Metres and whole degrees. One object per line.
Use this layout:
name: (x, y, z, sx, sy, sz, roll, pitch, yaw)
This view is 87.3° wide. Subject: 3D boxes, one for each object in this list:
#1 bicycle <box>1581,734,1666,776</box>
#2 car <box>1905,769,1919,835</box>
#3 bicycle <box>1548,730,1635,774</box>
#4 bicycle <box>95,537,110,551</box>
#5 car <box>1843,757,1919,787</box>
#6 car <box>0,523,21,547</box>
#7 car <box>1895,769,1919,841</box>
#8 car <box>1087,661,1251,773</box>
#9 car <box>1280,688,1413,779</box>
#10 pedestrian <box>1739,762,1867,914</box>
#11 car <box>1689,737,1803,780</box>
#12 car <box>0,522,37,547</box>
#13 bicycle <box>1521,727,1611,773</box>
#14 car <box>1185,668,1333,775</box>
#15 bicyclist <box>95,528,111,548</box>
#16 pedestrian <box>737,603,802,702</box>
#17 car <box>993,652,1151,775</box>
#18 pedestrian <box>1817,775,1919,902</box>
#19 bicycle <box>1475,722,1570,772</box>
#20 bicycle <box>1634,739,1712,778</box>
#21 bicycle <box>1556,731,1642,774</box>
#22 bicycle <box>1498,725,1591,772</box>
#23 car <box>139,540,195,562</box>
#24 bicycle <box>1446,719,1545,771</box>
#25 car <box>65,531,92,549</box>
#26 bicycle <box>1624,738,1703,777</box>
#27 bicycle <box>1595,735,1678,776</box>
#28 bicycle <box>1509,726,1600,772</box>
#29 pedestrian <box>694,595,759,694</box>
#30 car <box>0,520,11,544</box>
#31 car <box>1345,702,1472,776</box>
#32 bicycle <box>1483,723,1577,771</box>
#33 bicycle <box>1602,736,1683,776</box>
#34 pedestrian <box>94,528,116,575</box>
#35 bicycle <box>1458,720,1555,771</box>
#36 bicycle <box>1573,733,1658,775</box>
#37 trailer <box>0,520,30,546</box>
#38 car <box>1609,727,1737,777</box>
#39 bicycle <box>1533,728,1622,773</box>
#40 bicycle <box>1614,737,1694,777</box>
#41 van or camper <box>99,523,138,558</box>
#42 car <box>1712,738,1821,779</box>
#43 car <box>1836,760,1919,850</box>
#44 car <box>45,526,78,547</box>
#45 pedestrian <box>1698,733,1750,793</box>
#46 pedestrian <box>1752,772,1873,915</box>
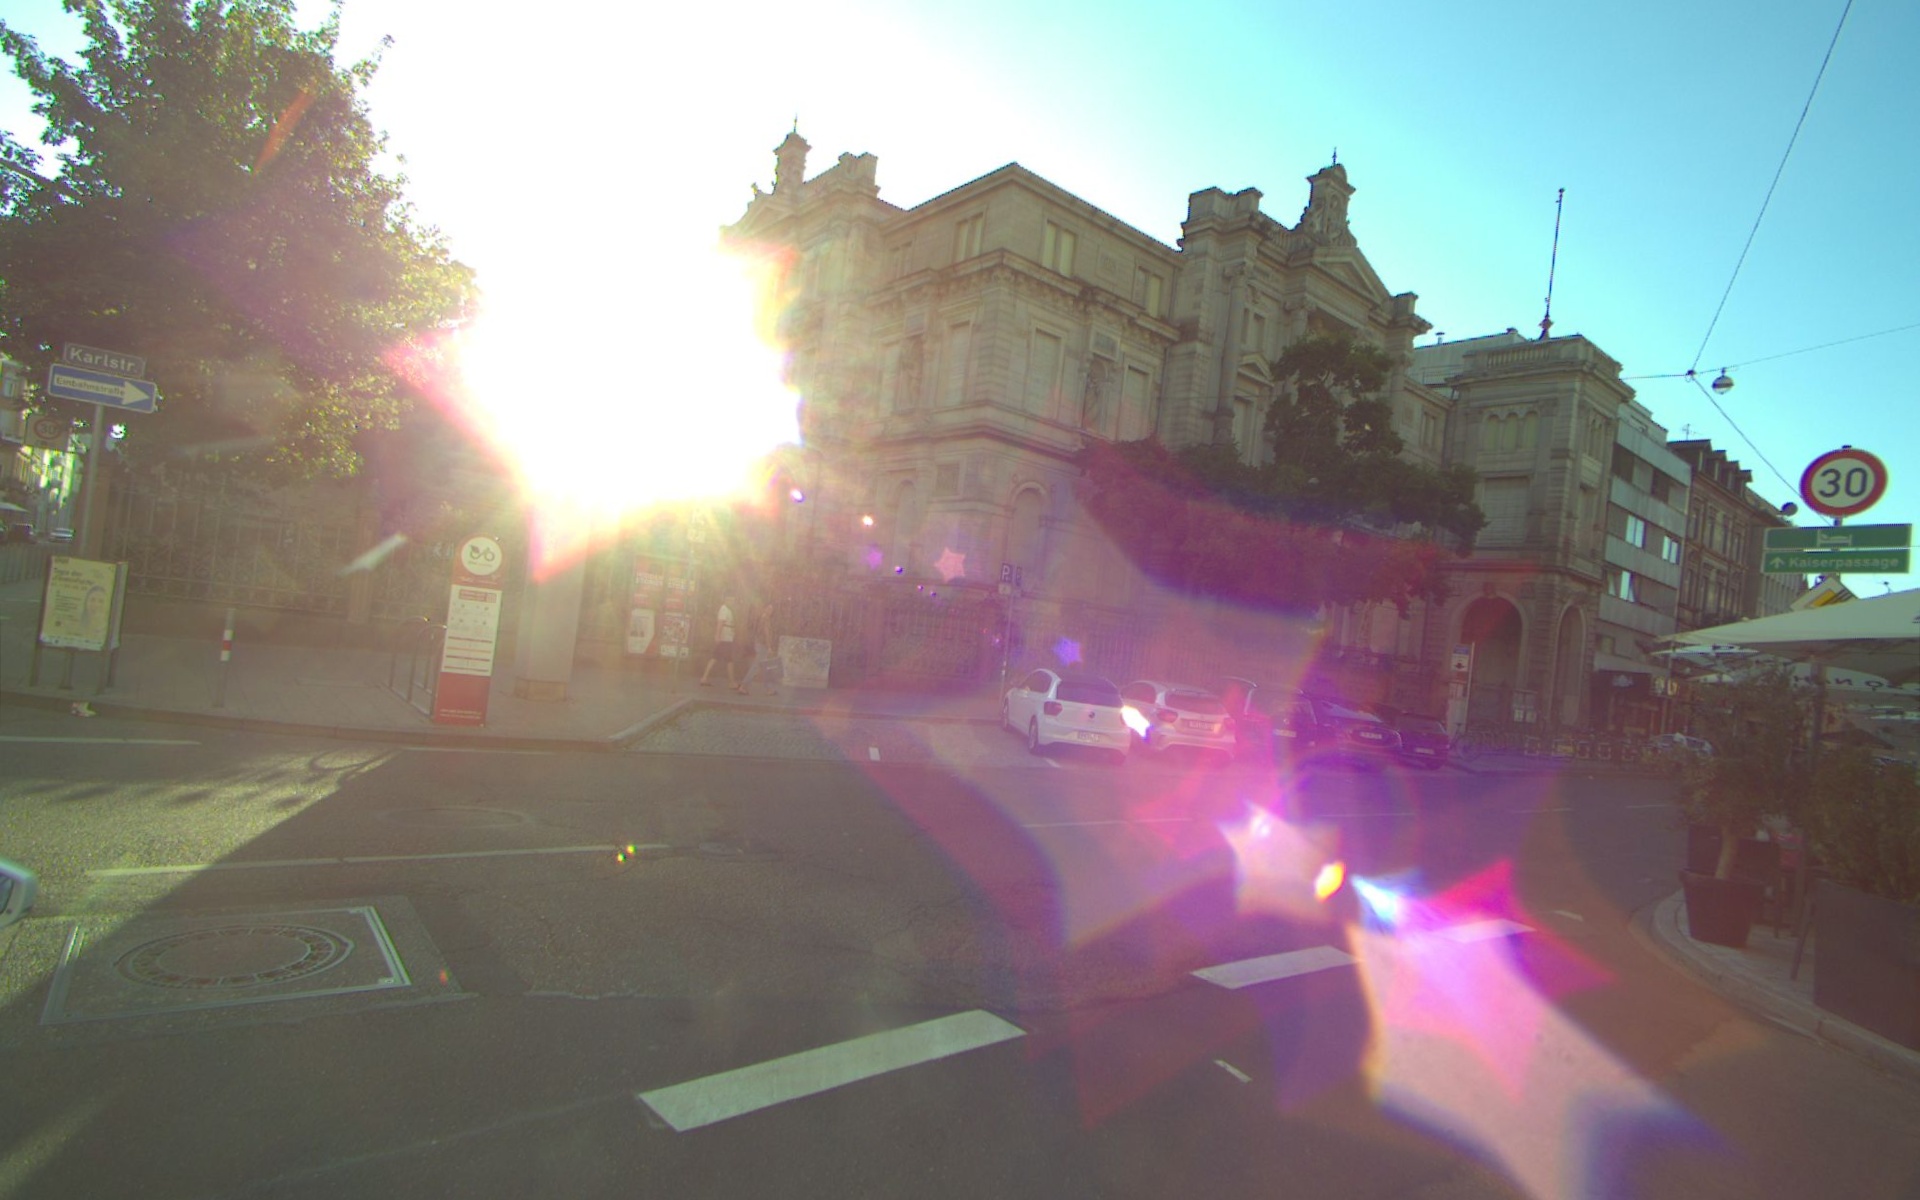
bicycle: (23.124, 5.380, 35.097, 0.712, 1.103, 2.276, 8, -3, -42)
car: (23.340, 4.702, 21.588, 3.993, 1.429, 1.757, 6, -2, 19)
bicycle: (20.879, 5.019, 33.299, 0.712, 1.103, 2.276, 8, -3, -42)
bicycle: (-89.896, -5.909, 105.434, 0.971, 1.295, 2.727, 8, -3, -38)
car: (64.091, 11.938, 69.804, 1.741, 1.429, 3.961, 8, -3, -37)
car: (-64.108, -4.428, 67.064, 1.876, 1.470, 3.957, 8, -2, -40)
car: (21.809, 4.471, 20.177, 4.030, 1.429, 1.757, 6, -2, 19)
car: (4.083, 2.262, 20.352, 1.726, 1.545, 3.991, 7, 0, -10)
car: (8.862, 3.015, 23.391, 1.722, 1.626, 4.006, 6, -3, 6)
pedestrian: (8.127, 2.271, 9.727, 0.589, 1.260, 0.687, 7, -1, 11)
car: (37.750, 7.601, 48.415, 1.741, 1.429, 3.961, 8, -3, -37)
car: (-69.043, -4.785, 73.566, 1.876, 1.470, 3.957, 8, -2, -40)
bicycle: (19.287, 4.765, 32.055, 0.712, 1.103, 2.276, 8, -3, -42)
car: (6.436, 2.571, 22.112, 1.723, 1.741, 3.999, 7, -1, -3)
bicyclist: (-89.795, -6.489, 105.397, 0.985, 1.890, 0.701, 8, -2, -37)
pedestrian: (-3.443, 0.954, 18.211, 0.632, 1.690, 0.703, 8, 0, 38)
car: (1.936, 1.992, 18.644, 1.726, 1.466, 3.899, 7, 2, -10)
pedestrian: (10.539, 2.738, 11.635, 0.589, 1.260, 0.687, 7, -1, 11)
bicycle: (16.515, 4.306, 29.595, 0.712, 1.103, 2.276, 8, -3, -42)
bicycle: (27.174, 6.033, 38.360, 0.712, 1.103, 2.276, 8, -3, -42)
bicycle: (21.498, 5.123, 33.875, 0.712, 1.103, 2.276, 8, -3, -42)
bicycle: (17.898, 4.536, 30.838, 0.712, 1.103, 2.276, 8, -3, -42)
car: (-74.320, -4.570, 94.302, 3.970, 1.436, 1.640, 9, -3, -38)
bicycle: (15.053, 4.066, 28.323, 0.712, 1.103, 2.276, 8, -3, -42)
car: (-103.771, -7.062, 118.426, 1.985, 1.703, 3.960, 8, -3, -38)
bicycle: (26.378, 5.905, 37.739, 0.712, 1.103, 2.276, 8, -3, -42)
bicycle: (24.102, 5.538, 35.889, 0.712, 1.103, 2.276, 8, -3, -42)
bicycle: (18.572, 4.650, 31.488, 0.712, 1.103, 2.276, 8, -3, -42)
pedestrian: (-4.263, 0.812, 18.385, 0.632, 1.690, 0.703, 8, 0, 38)
car: (-61.101, -4.394, 63.083, 1.876, 1.470, 3.957, 8, -2, -40)
car: (11.596, 3.553, 26.325, 1.722, 1.428, 4.006, 6, -3, 6)
bicycle: (17.103, 4.410, 30.248, 0.712, 1.103, 2.276, 8, -3, -42)
bicycle: (24.728, 5.643, 36.478, 0.712, 1.103, 2.276, 8, -3, -42)
pedestrian: (-32.121, -1.816, 37.776, 0.611, 1.679, 0.483, 6, 0, 45)
bicycle: (15.657, 4.167, 28.885, 0.712, 1.103, 2.276, 8, -3, -42)
bicycle: (22.460, 5.271, 34.521, 0.712, 1.103, 2.276, 8, -3, -42)
trailer: (-66.543, -4.718, 70.255, 1.986, 1.574, 3.958, 9, -3, -39)
car: (29.560, 6.305, 41.808, 1.741, 1.429, 3.961, 8, -3, -37)
bicycle: (20.004, 4.880, 32.626, 0.712, 1.103, 2.276, 8, -3, -42)
bicycle: (25.631, 5.789, 37.206, 0.712, 1.103, 2.276, 8, -3, -42)
van or camper: (-70.062, -4.883, 83.846, 2.244, 2.641, 5.061, 3, 0, -38)
car: (40.804, 7.997, 50.948, 1.741, 1.429, 3.961, 8, -3, -37)
car: (18.992, 3.990, 18.415, 3.993, 1.429, 1.757, 6, -2, 19)
car: (-90.087, -6.341, 100.885, 1.985, 1.703, 3.960, 8, -3, -38)
pedestrian: (24.715, 5.262, 32.554, 0.994, 1.770, 0.964, 8, -1, -36)
pedestrian: (8.794, 2.489, 10.401, 0.589, 1.260, 0.687, 7, -1, 11)
